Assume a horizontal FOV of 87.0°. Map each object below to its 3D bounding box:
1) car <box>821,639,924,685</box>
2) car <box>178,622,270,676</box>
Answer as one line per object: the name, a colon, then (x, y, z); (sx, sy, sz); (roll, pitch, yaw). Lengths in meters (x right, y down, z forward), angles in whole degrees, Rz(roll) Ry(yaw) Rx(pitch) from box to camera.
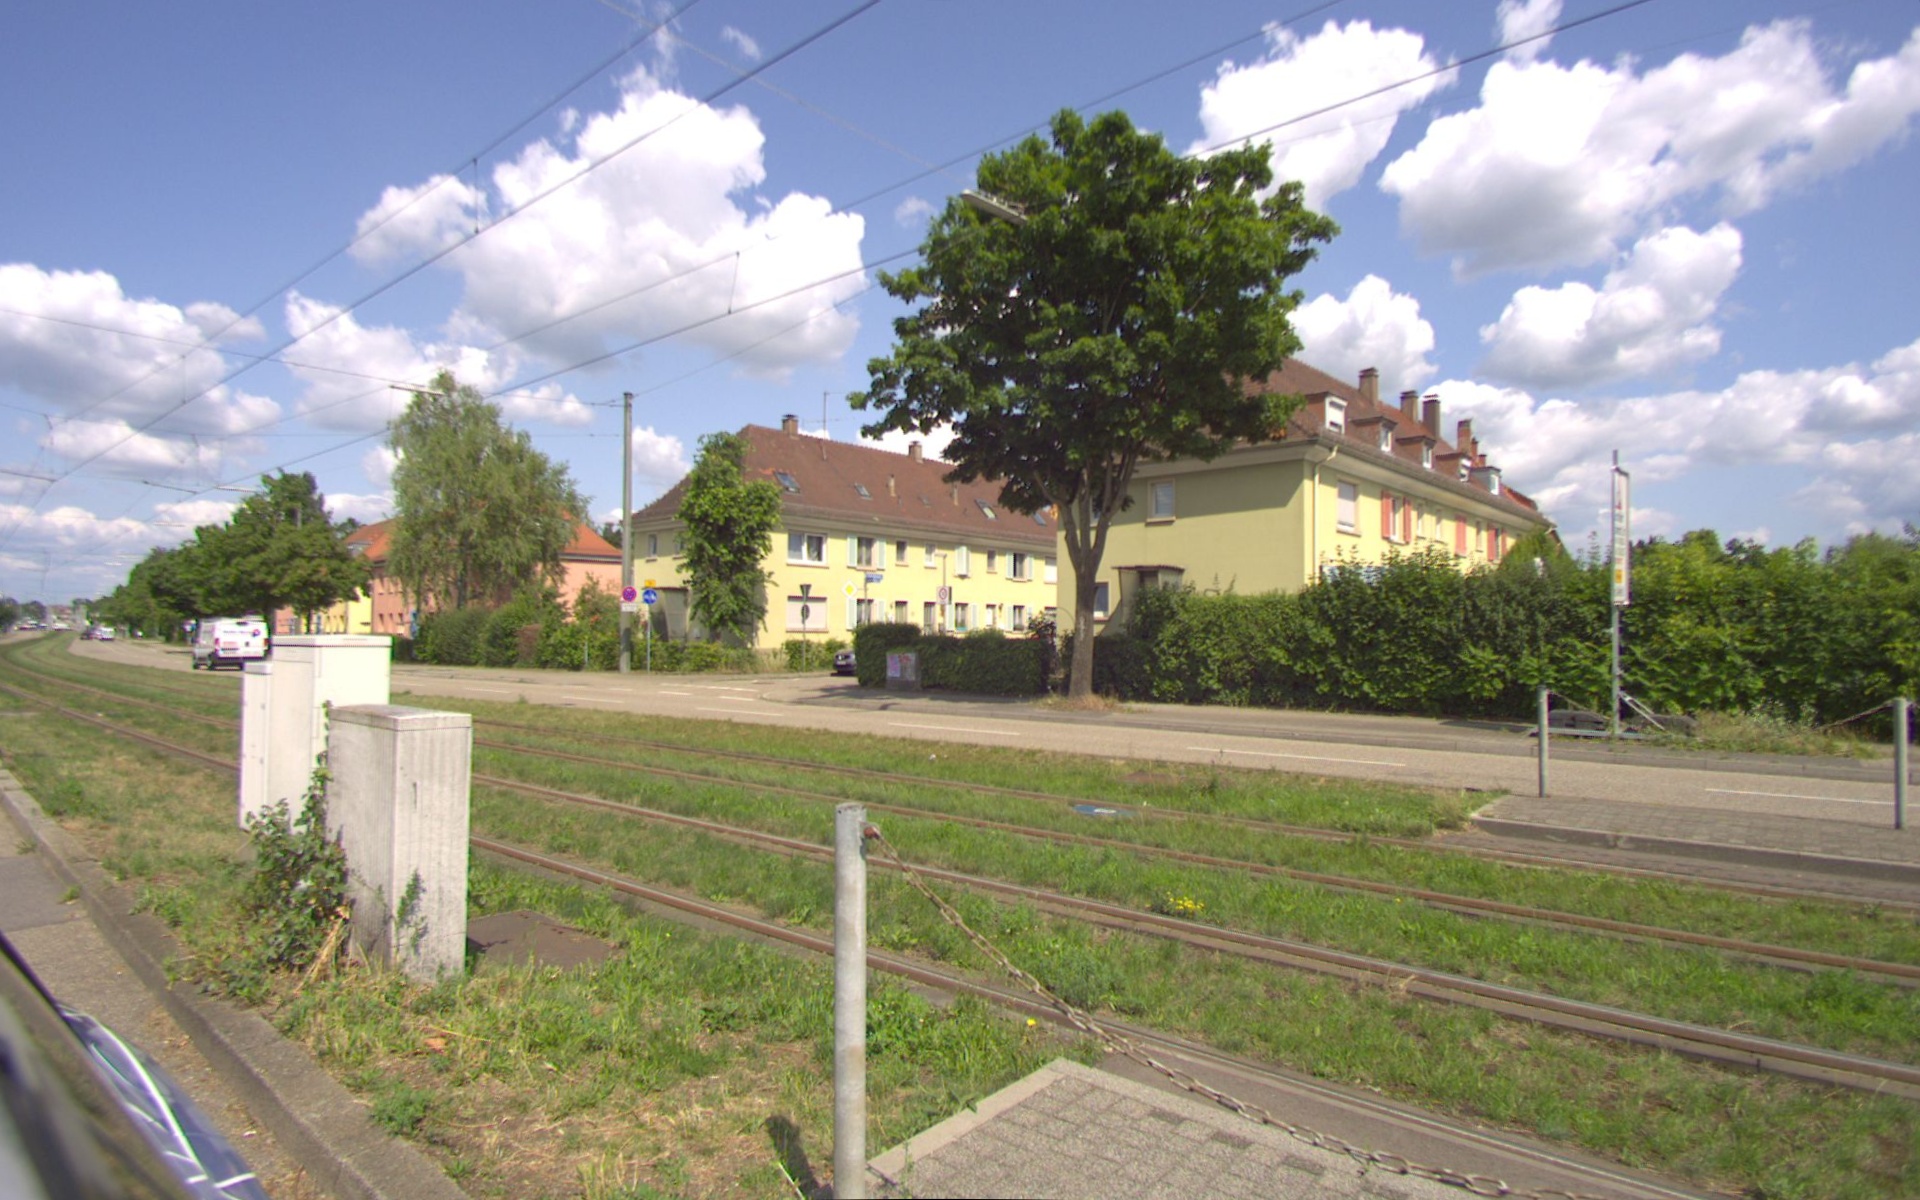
car: (-3.342, 2.406, 39.041); (1.823, 1.699, 3.701); (-3, -5, 42)
car: (-34.116, 2.258, 46.876); (5.329, 2.390, 2.174); (-2, -4, 40)
